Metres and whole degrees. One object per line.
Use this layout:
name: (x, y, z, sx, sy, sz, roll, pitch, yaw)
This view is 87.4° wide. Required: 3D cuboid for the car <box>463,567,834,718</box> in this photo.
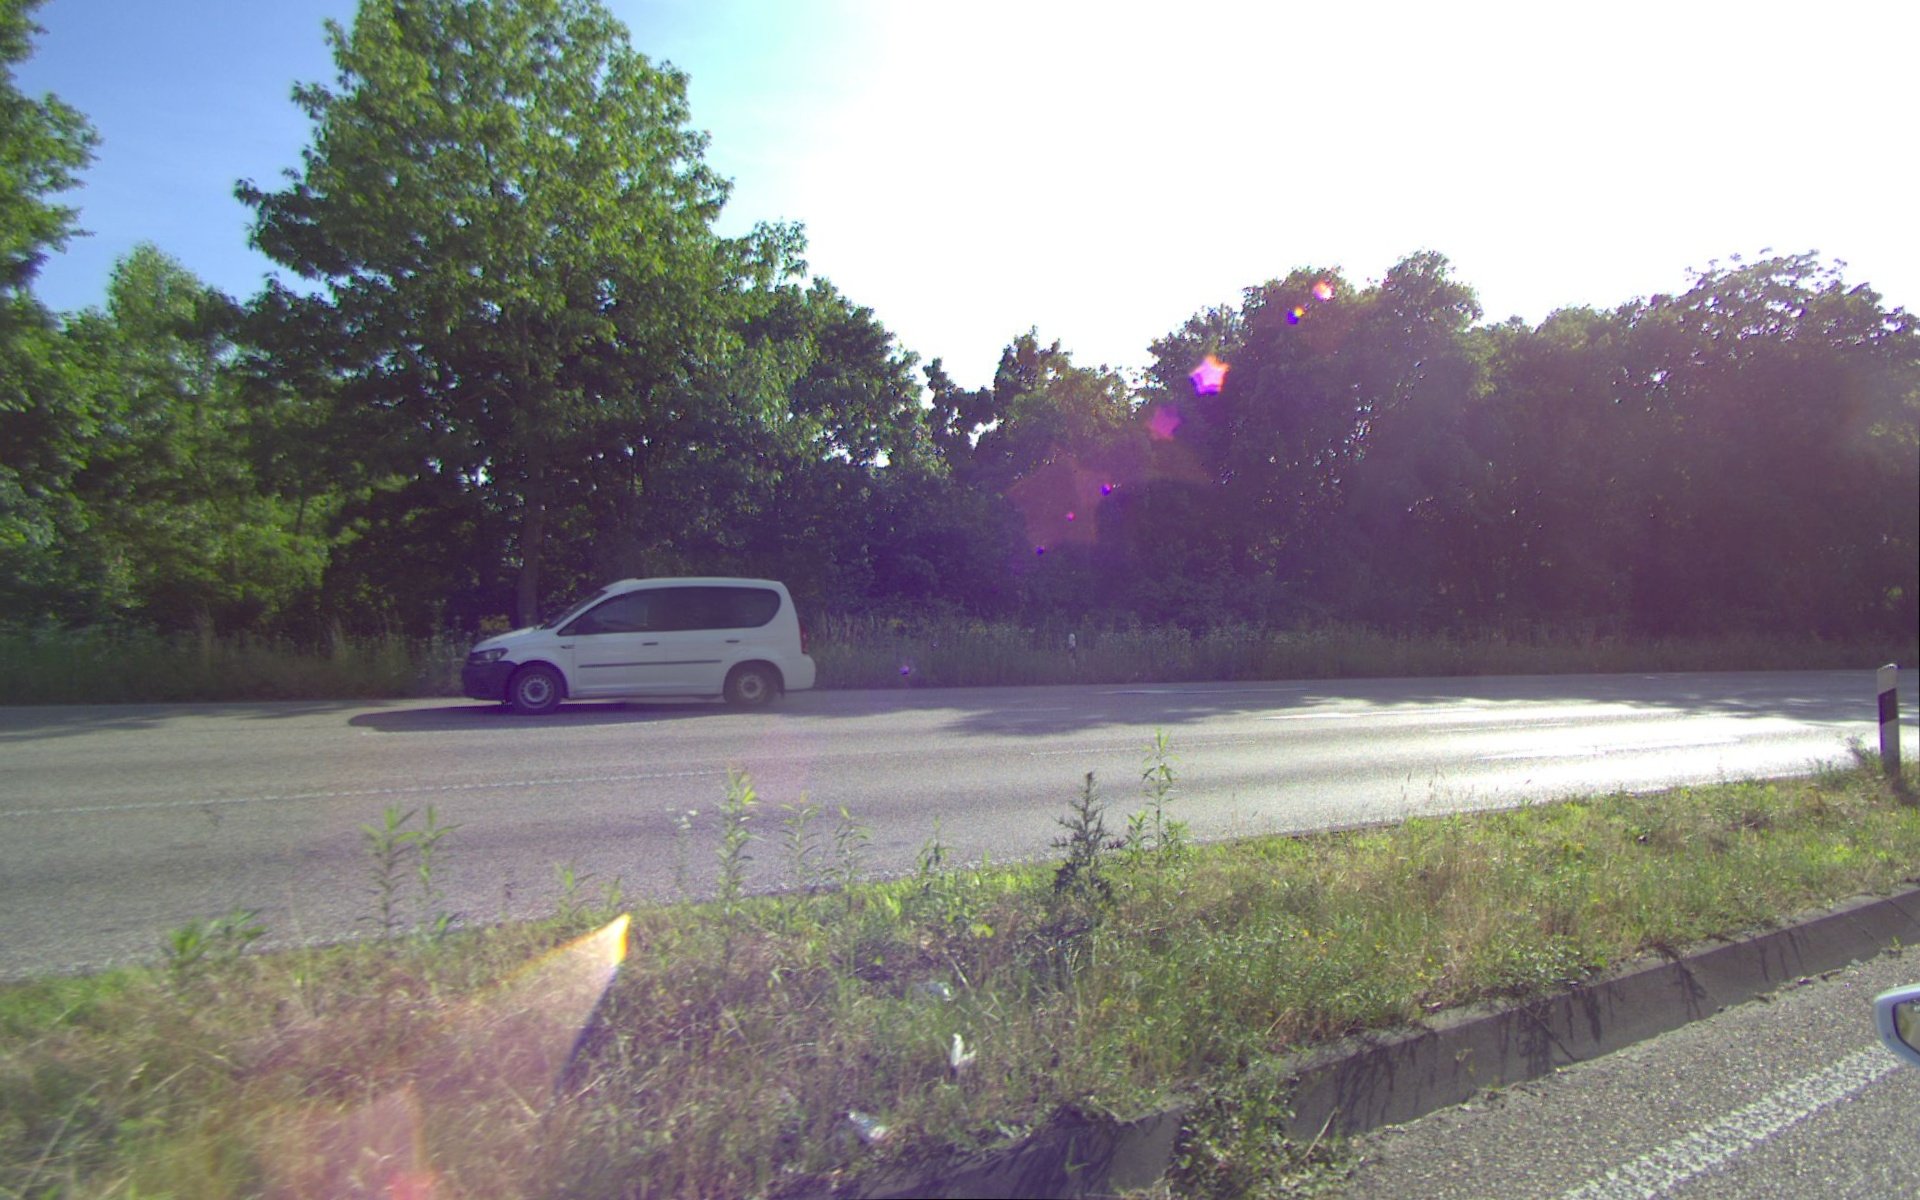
car: (-4.244, 0.592, 13.872, 4.608, 1.810, 1.844, 2, -1, -26)
